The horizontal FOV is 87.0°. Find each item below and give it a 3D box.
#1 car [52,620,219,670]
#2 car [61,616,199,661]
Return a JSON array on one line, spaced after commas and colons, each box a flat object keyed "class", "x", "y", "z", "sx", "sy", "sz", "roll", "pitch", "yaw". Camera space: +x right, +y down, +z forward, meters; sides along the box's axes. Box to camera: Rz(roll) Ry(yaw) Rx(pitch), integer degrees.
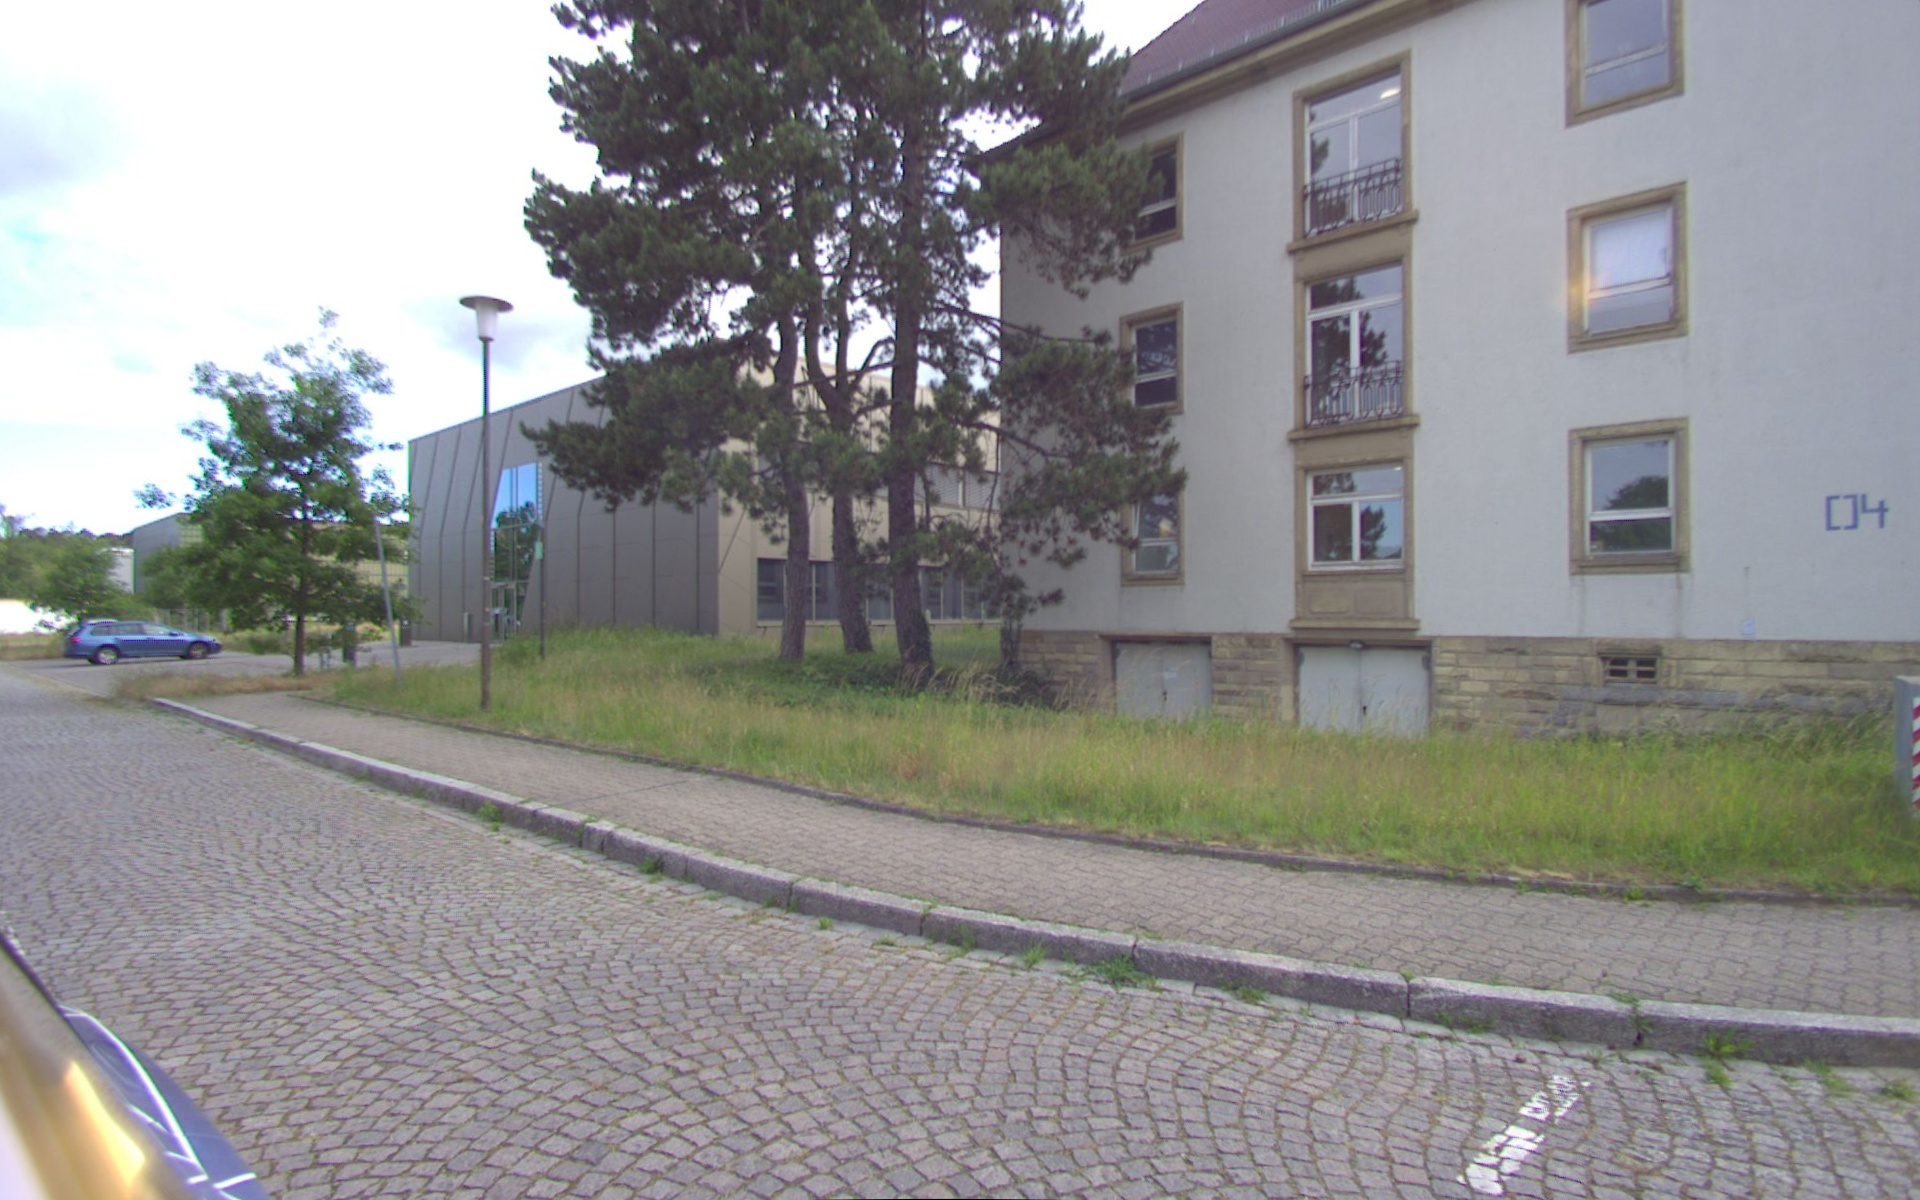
[{"class": "car", "x": -29.506, "y": 1.548, "z": 36.318, "sx": 1.837, "sy": 1.474, "sz": 4.359, "roll": -1, "pitch": 1, "yaw": 40}, {"class": "car", "x": -34.381, "y": 1.554, "z": 42.014, "sx": 1.837, "sy": 1.598, "sz": 4.140, "roll": -1, "pitch": 1, "yaw": 40}]
